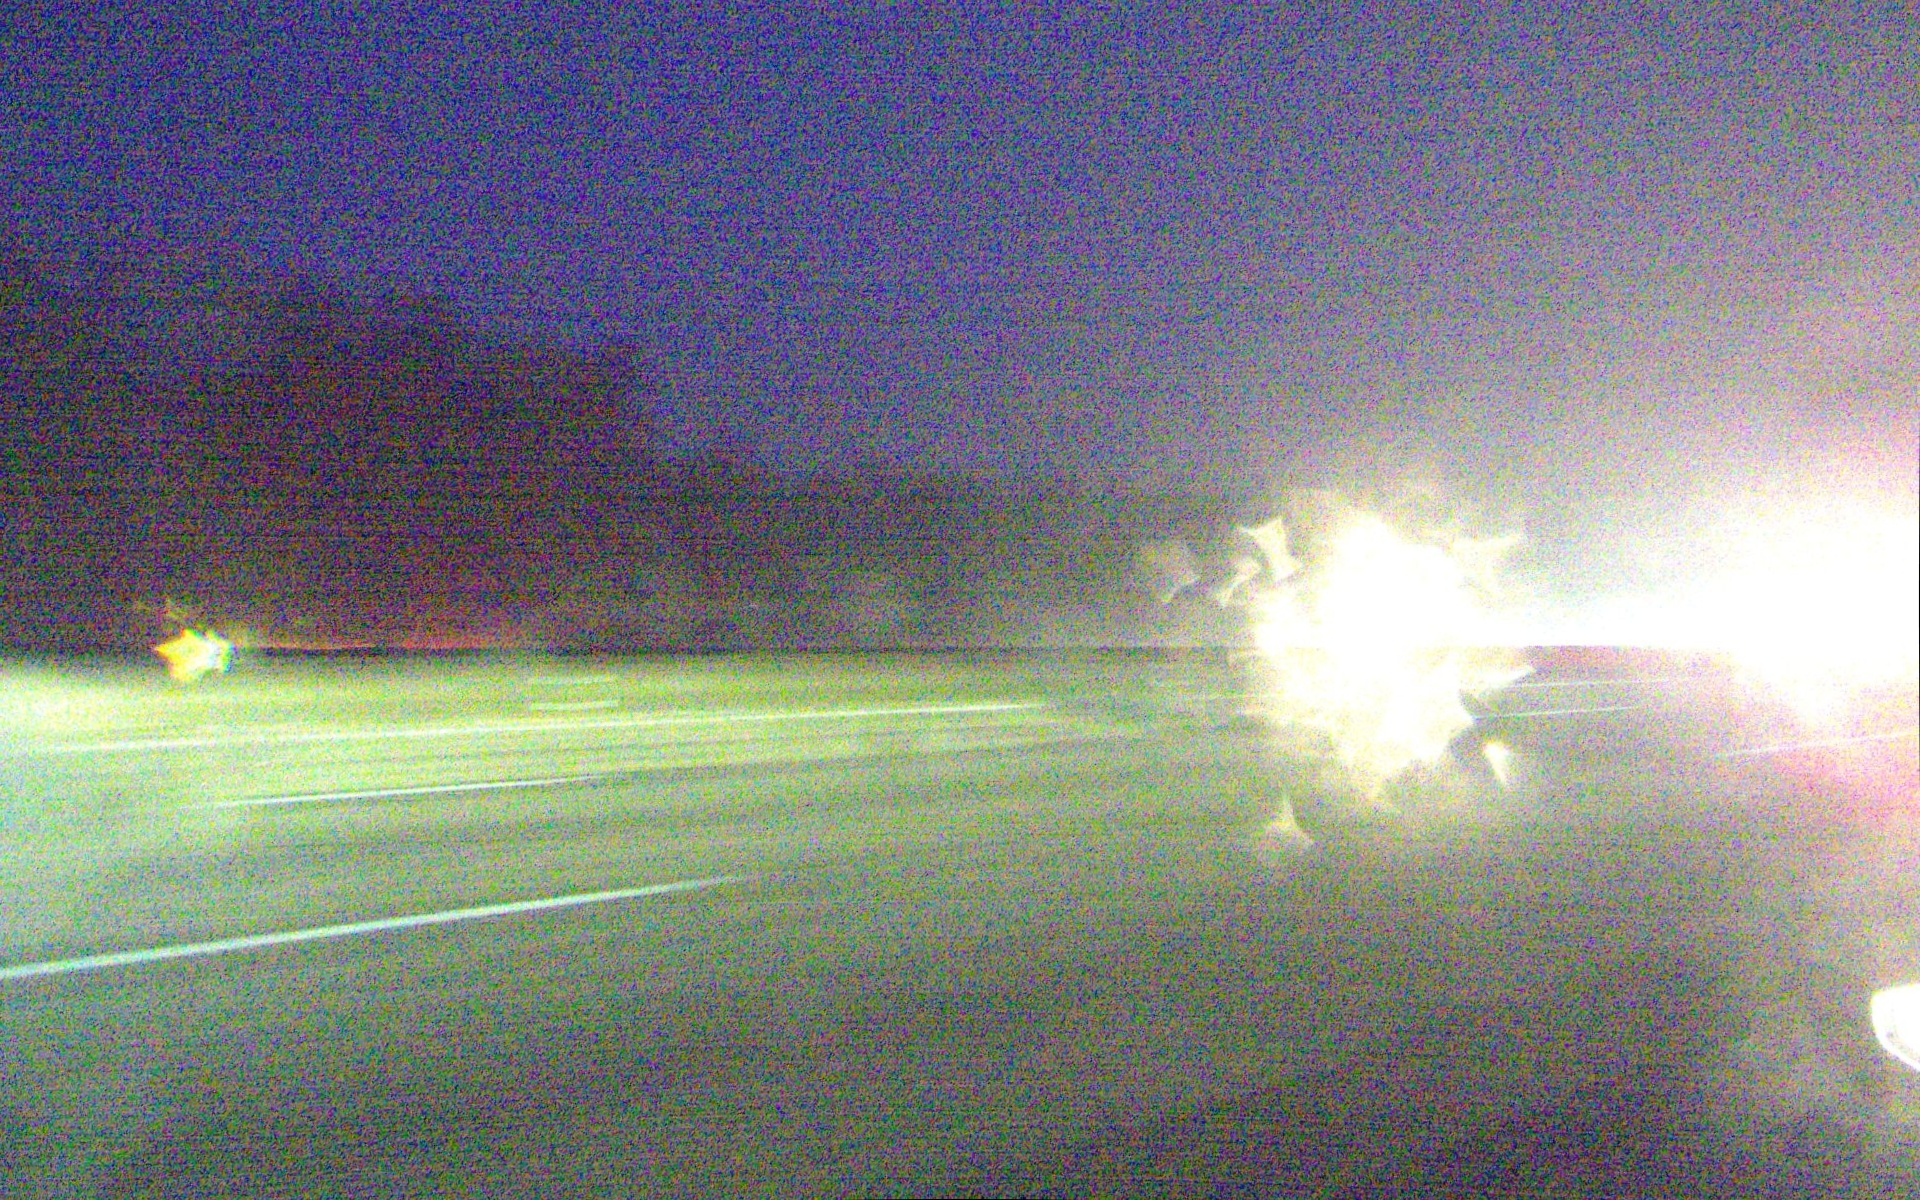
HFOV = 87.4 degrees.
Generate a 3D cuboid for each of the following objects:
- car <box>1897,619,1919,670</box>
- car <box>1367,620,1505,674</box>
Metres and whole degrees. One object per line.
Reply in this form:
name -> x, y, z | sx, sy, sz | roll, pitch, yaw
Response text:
car -> 32.615, 1.492, 33.018 | 3.963, 1.617, 1.979 | 2, 0, -37
car -> 15.305, 1.510, 32.266 | 4.409, 1.578, 1.870 | 2, 0, -31
